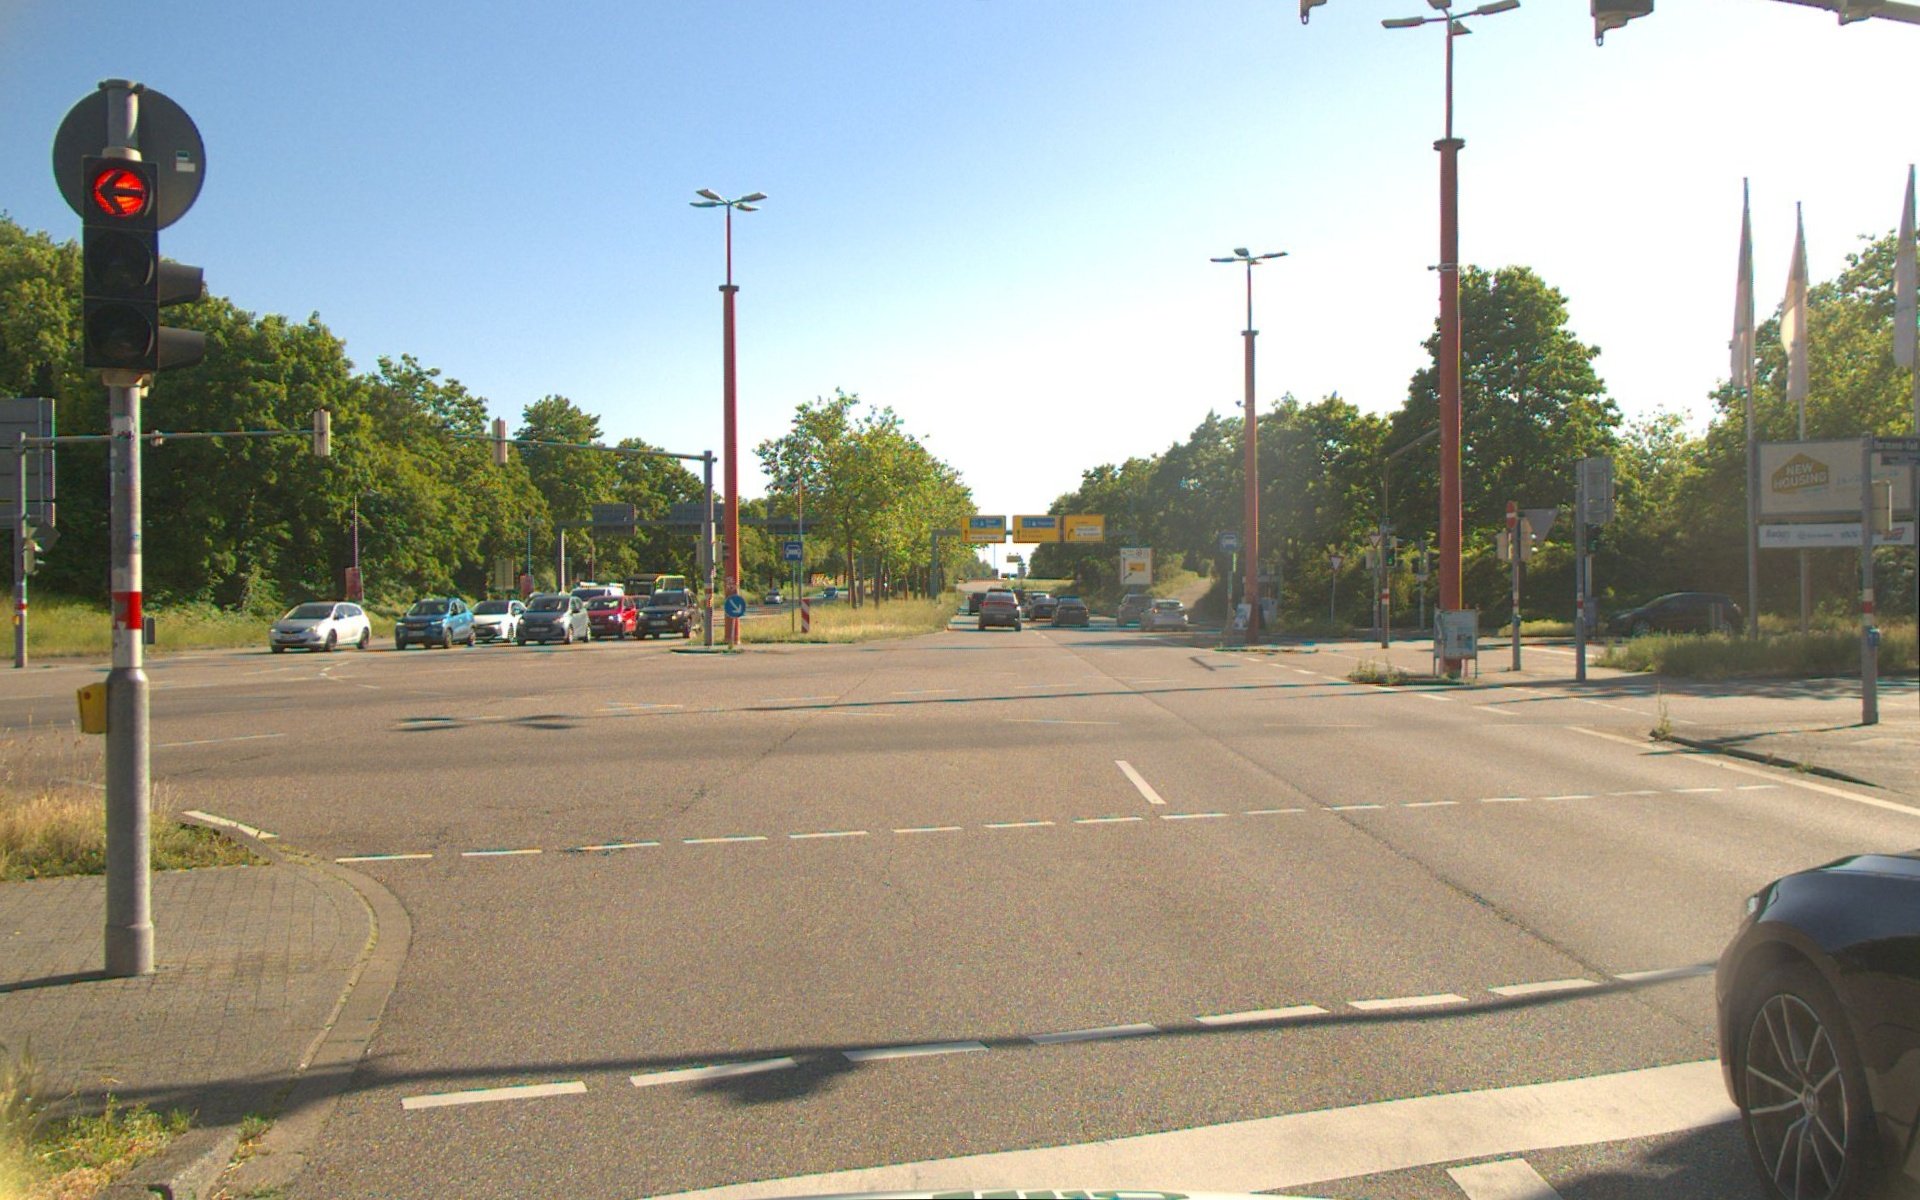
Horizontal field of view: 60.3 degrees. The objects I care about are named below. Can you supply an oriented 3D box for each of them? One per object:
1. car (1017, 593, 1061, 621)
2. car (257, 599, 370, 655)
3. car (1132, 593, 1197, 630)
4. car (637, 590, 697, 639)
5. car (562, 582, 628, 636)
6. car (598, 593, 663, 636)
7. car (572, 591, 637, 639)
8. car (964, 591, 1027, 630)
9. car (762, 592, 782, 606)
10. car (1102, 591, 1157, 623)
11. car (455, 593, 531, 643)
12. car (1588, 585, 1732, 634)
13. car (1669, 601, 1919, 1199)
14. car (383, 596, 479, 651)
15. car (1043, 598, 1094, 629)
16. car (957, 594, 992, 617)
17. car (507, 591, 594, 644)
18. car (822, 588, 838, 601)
[{"bbox_3d":[4.645,0.374,97.909,2.116,1.601,4.277,0,0,-4],"label":"car"},{"bbox_3d":[-19.590,0.784,50.292,1.954,1.601,4.118,0,0,-3],"label":"car"},{"bbox_3d":[9.185,0.500,74.726,2.116,1.601,4.277,0,0,-4],"label":"car"},{"bbox_3d":[-9.878,0.471,55.986,1.841,1.601,4.113,0,0,-8],"label":"car"},{"bbox_3d":[-15.677,0.384,71.259,2.021,2.231,4.376,0,0,-3],"label":"car"},{"bbox_3d":[-12.716,0.526,64.041,1.954,1.601,4.117,0,0,-4],"label":"car"},{"bbox_3d":[-12.483,0.506,58.266,1.956,1.601,4.113,0,0,-8],"label":"car"},{"bbox_3d":[1.473,0.427,70.570,2.202,1.601,4.276,0,0,-5],"label":"car"},{"bbox_3d":[-21.016,-0.112,184.941,1.954,1.601,4.118,0,0,-3],"label":"car"},{"bbox_3d":[8.752,0.343,85.951,2.116,1.601,4.277,0,0,-4],"label":"car"},{"bbox_3d":[-15.995,0.595,56.779,1.956,1.601,4.113,-1,0,-8],"label":"car"},{"bbox_3d":[23.458,0.306,55.578,4.176,1.601,2.167,0,0,16],"label":"car"},{"bbox_3d":[2.973,0.715,2.357,1.953,1.419,4.476,0,0,-1],"label":"car"},{"bbox_3d":[-16.212,0.681,50.886,1.955,1.601,4.116,0,0,-5],"label":"car"},{"bbox_3d":[5.340,0.658,81.991,1.915,1.467,4.277,0,0,-4],"label":"car"},{"bbox_3d":[1.032,0.360,116.913,2.116,1.601,4.277,0,0,-4],"label":"car"},{"bbox_3d":[-12.809,0.520,51.960,1.954,1.601,4.118,0,0,-4],"label":"car"},{"bbox_3d":[-17.346,-0.736,220.482,1.954,1.601,4.118,0,0,-3],"label":"car"}]
